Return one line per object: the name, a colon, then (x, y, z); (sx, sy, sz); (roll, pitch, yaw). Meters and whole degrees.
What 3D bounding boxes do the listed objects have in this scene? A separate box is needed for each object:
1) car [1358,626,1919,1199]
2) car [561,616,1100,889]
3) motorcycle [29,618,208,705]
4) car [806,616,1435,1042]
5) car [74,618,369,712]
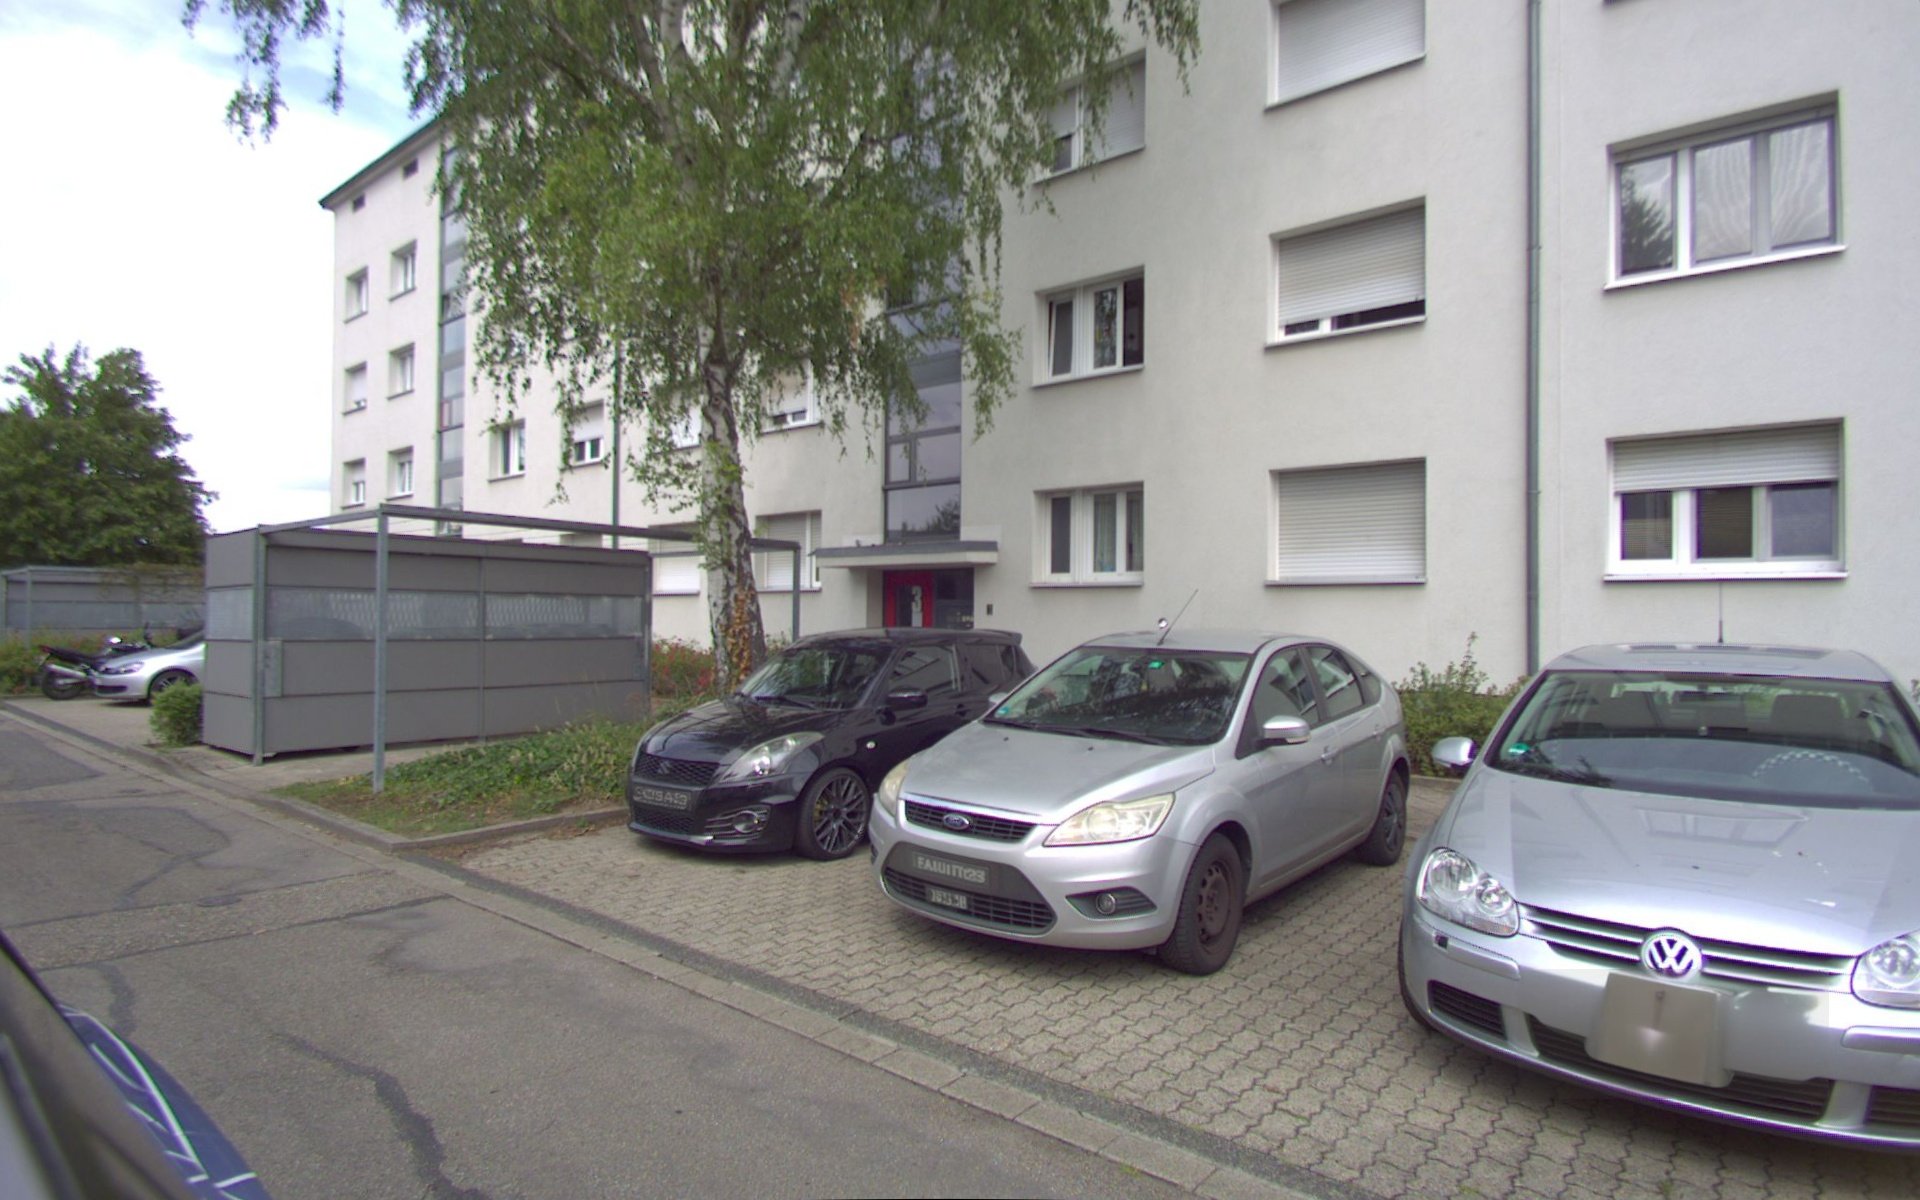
car: (3.183, 0.884, 4.149); (1.780, 1.475, 4.011); (-1, -2, 39)
car: (-0.728, 0.934, 7.809); (1.780, 1.516, 4.011); (-1, -2, 39)
motorcycle: (-15.294, 1.127, 18.472); (0.713, 1.475, 2.353); (-1, -4, 39)
car: (1.228, 0.897, 5.762); (1.780, 1.516, 4.011); (-1, -2, 39)
car: (-13.248, 1.159, 18.338); (1.901, 1.497, 3.945); (-1, -4, 41)
